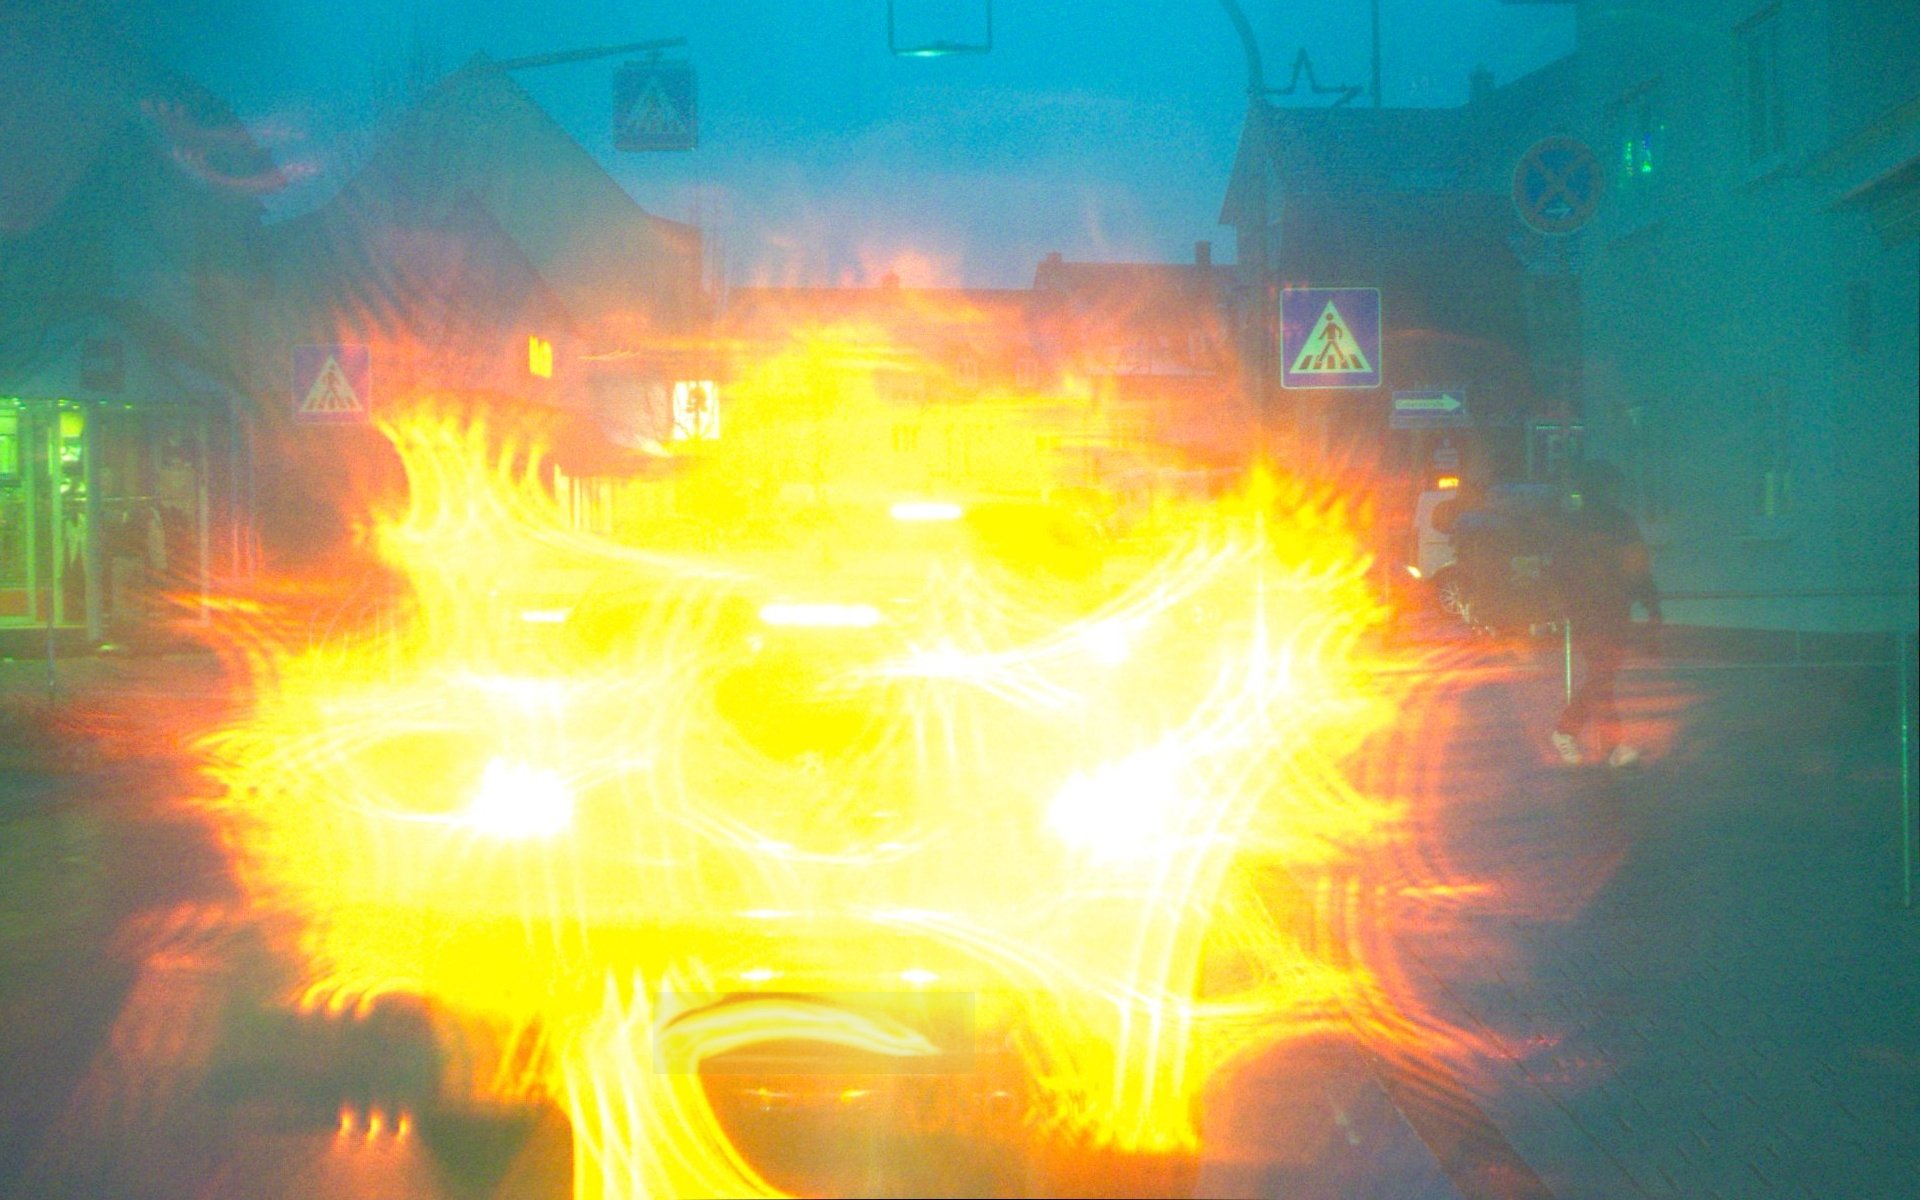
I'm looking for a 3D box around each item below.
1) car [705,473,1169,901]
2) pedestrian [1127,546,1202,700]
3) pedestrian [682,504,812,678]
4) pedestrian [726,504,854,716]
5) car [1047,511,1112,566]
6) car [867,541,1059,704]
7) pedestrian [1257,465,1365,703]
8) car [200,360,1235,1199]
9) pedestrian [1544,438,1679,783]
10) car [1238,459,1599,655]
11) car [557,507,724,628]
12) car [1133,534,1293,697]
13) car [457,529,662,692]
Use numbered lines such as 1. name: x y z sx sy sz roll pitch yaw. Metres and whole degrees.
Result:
1. car: -0.038 0.312 15.435 1.798 1.656 4.000 1 1 2
2. pedestrian: 1.643 0.177 27.645 0.553 1.229 0.434 0 1 -3
3. pedestrian: -1.850 -0.081 29.914 0.890 1.413 0.776 6 1 5
4. pedestrian: -1.426 0.069 28.940 0.973 1.736 0.961 1 2 2
5. car: 3.172 -1.639 90.951 1.534 1.241 3.647 -5 2 3
6. car: 0.094 0.183 36.162 1.827 1.596 4.581 0 1 2
7. pedestrian: 2.803 -0.138 27.489 0.703 1.870 0.617 1 2 -6
8. car: -0.349 0.370 8.964 1.994 1.789 4.648 0 2 3
9. pedestrian: 3.641 0.051 19.264 0.663 1.881 0.824 1 0 7
10. car: 4.859 -0.460 36.793 3.697 2.007 1.689 1 0 4
11. car: -4.759 -0.506 51.793 1.993 1.746 4.361 0 1 1
12. car: 3.348 0.159 46.098 1.641 2.006 4.001 -2 2 -2
13. car: -5.138 0.093 44.674 1.993 2.007 4.361 0 1 2
